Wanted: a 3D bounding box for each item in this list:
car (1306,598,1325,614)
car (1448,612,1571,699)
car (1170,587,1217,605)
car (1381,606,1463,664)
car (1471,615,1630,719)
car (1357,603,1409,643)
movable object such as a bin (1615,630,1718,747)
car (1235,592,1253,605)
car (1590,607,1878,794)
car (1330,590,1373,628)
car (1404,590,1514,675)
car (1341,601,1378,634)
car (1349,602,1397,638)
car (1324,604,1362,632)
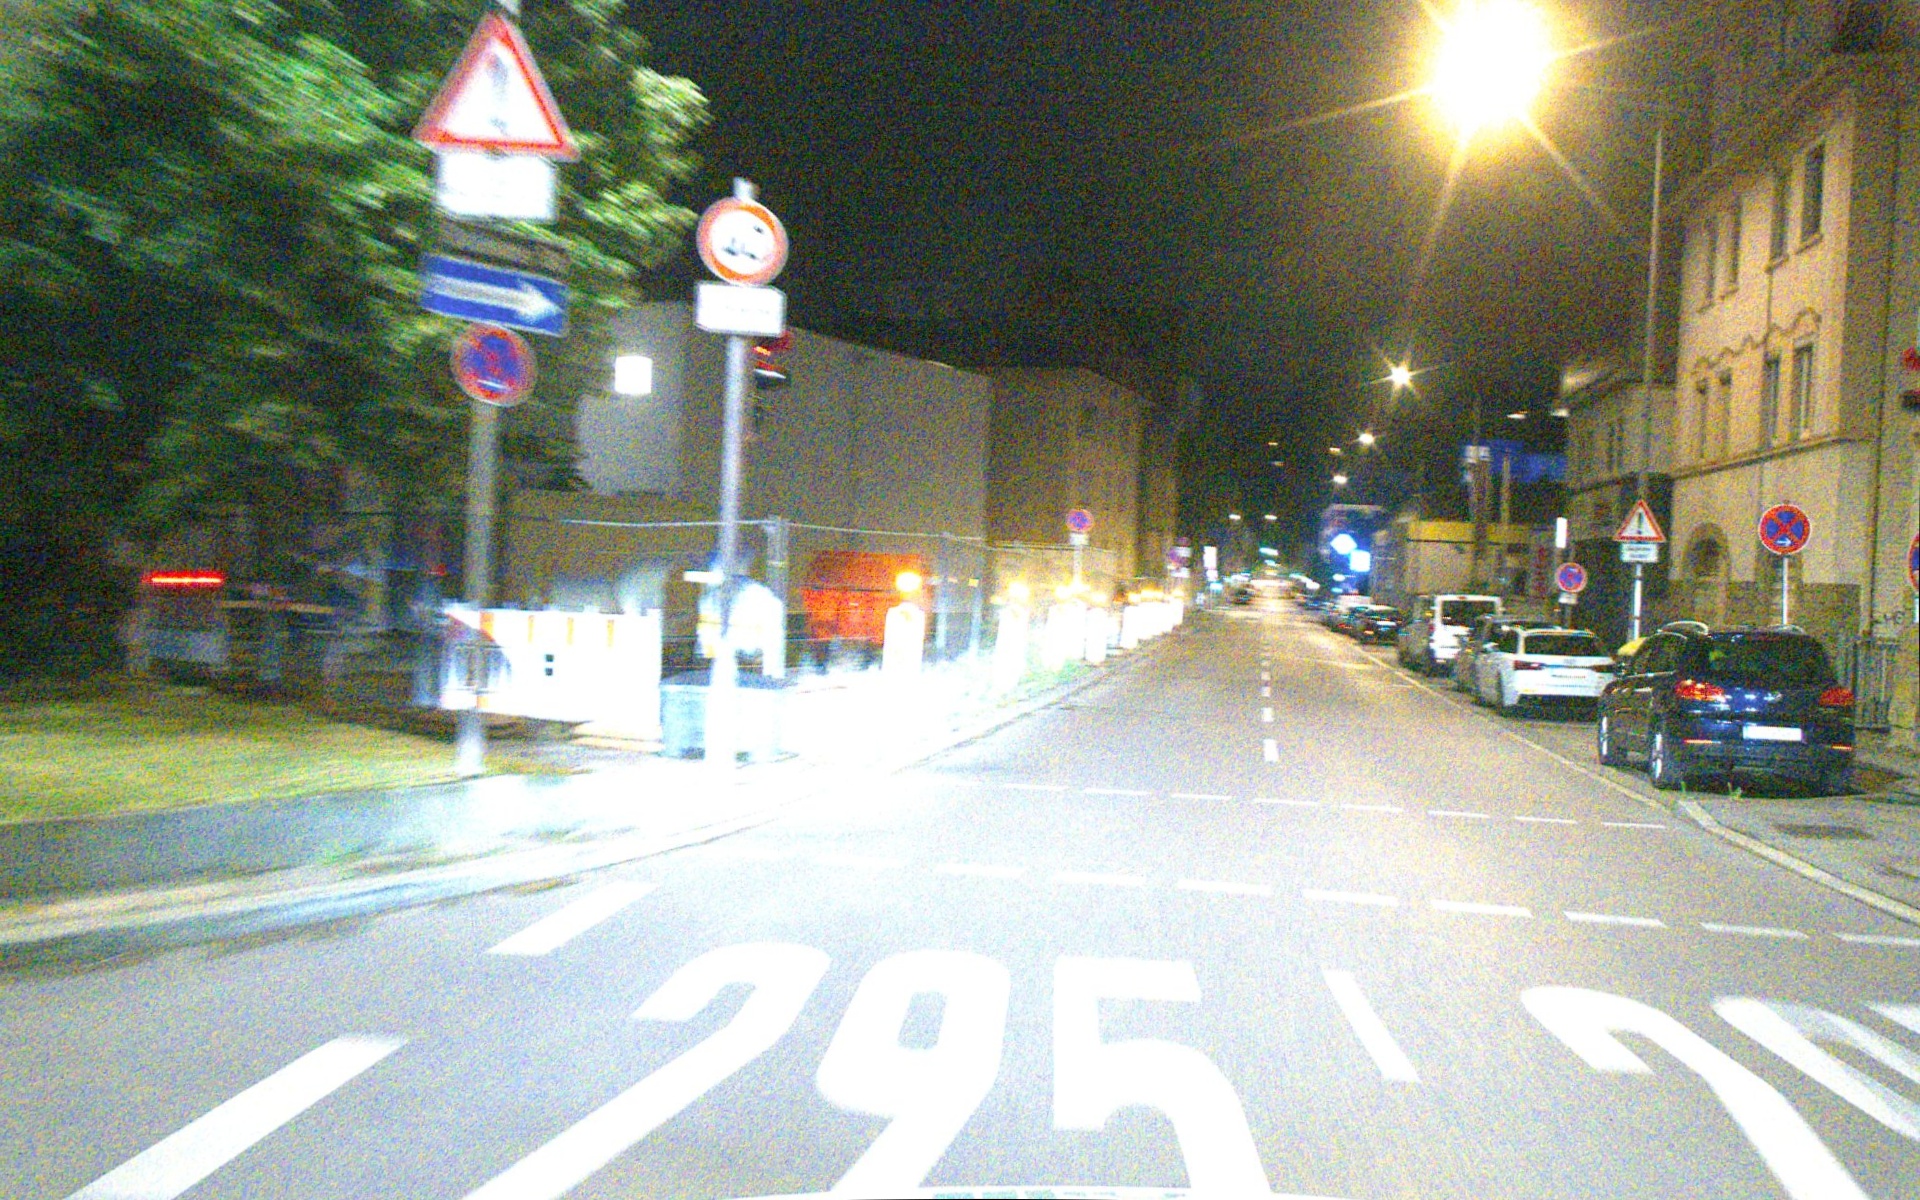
[{"bbox_3d":[38.965,0.668,181.193,1.951,1.542,4.004,4,1,12],"label":"car"},{"bbox_3d":[11.007,1.058,33.366,1.706,1.593,4.214,1,0,10],"label":"car"},{"bbox_3d":[22.493,-0.403,159.420,4.345,1.475,2.002,3,0,10],"label":"car"},{"bbox_3d":[13.416,0.980,48.182,1.780,1.627,4.224,0,0,8],"label":"car"},{"bbox_3d":[9.880,1.058,27.996,1.706,1.535,4.838,1,0,10],"label":"car"},{"bbox_3d":[16.836,0.880,66.004,1.741,1.451,4.484,3,0,11],"label":"car"},{"bbox_3d":[9.375,1.151,22.005,0.917,1.457,1.340,1,0,7],"label":"movable object such as a bin"},{"bbox_3d":[34.491,-0.150,200.694,1.951,1.528,4.003,3,0,11],"label":"car"},{"bbox_3d":[8.124,0.953,17.776,1.706,1.712,4.262,1,0,10],"label":"car"},{"bbox_3d":[20.792,0.456,88.027,1.762,1.908,4.778,1,1,8],"label":"car"},{"bbox_3d":[12.489,0.779,41.721,2.028,1.962,5.375,1,0,10],"label":"car"},{"bbox_3d":[19.894,0.856,82.473,1.561,1.492,3.895,3,0,11],"label":"car"},{"bbox_3d":[18.330,0.866,73.482,1.741,1.451,3.895,3,0,10],"label":"car"},{"bbox_3d":[21.456,0.973,92.770,1.777,1.452,4.192,1,1,10],"label":"car"}]
